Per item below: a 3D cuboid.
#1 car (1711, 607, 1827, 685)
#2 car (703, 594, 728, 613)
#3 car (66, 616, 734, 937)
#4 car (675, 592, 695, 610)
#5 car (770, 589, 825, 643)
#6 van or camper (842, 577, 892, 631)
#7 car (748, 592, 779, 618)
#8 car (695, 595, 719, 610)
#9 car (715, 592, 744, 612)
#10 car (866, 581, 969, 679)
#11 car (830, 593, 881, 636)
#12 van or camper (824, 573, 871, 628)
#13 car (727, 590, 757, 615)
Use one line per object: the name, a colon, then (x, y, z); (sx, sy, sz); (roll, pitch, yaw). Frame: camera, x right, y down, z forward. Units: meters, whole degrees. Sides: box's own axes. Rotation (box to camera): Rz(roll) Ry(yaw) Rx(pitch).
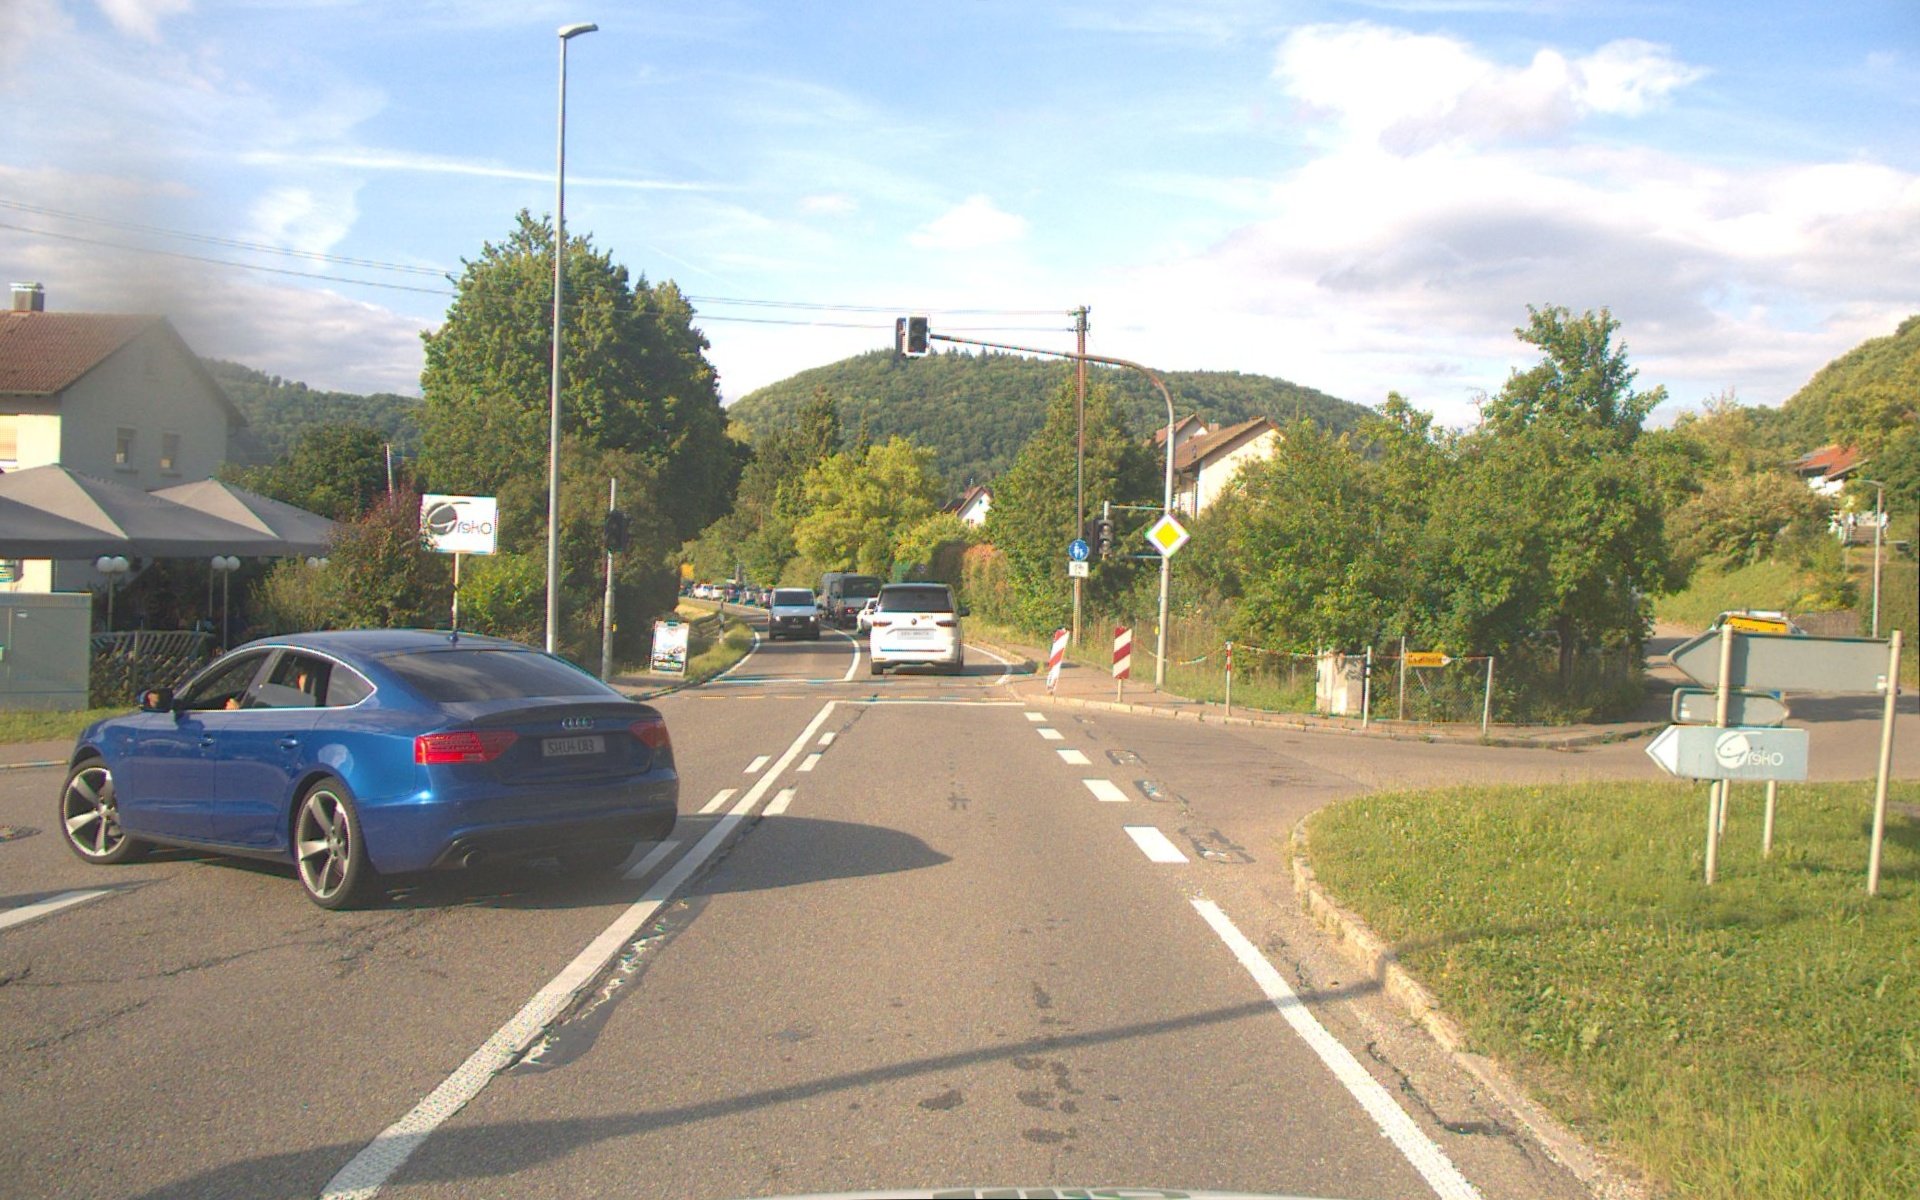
car: (19.027, 1.029, 39.070); (1.828, 1.638, 4.574); (1, 1, 18)
car: (-22.822, 0.326, 154.511); (1.910, 1.713, 3.984); (0, 0, -15)
car: (-3.372, 0.821, 9.569); (4.148, 1.434, 1.826); (-1, 0, 41)
car: (-29.425, 0.102, 176.831); (1.742, 1.814, 3.984); (0, 0, -15)
car: (-6.229, 0.571, 63.199); (1.955, 1.937, 5.246); (-1, 0, -6)
van or camper: (-4.441, 0.179, 78.260); (2.137, 2.427, 5.363); (0, 0, -5)
car: (-15.278, 0.391, 128.477); (1.766, 1.825, 3.986); (2, 1, -14)
car: (-25.055, 0.200, 163.590); (1.910, 1.449, 3.985); (0, 0, -15)
car: (-20.381, 0.173, 146.117); (2.007, 1.713, 3.985); (1, 1, -15)
car: (-0.854, 0.577, 36.089); (1.952, 1.909, 4.872); (2, 1, 1)
car: (-4.291, 0.573, 67.437); (1.955, 1.713, 3.995); (0, 0, -6)
van or camper: (-6.371, 0.028, 92.730); (2.369, 2.955, 6.123); (0, 0, -6)
car: (-18.149, 0.170, 137.356); (1.960, 2.049, 3.984); (0, 0, -15)
